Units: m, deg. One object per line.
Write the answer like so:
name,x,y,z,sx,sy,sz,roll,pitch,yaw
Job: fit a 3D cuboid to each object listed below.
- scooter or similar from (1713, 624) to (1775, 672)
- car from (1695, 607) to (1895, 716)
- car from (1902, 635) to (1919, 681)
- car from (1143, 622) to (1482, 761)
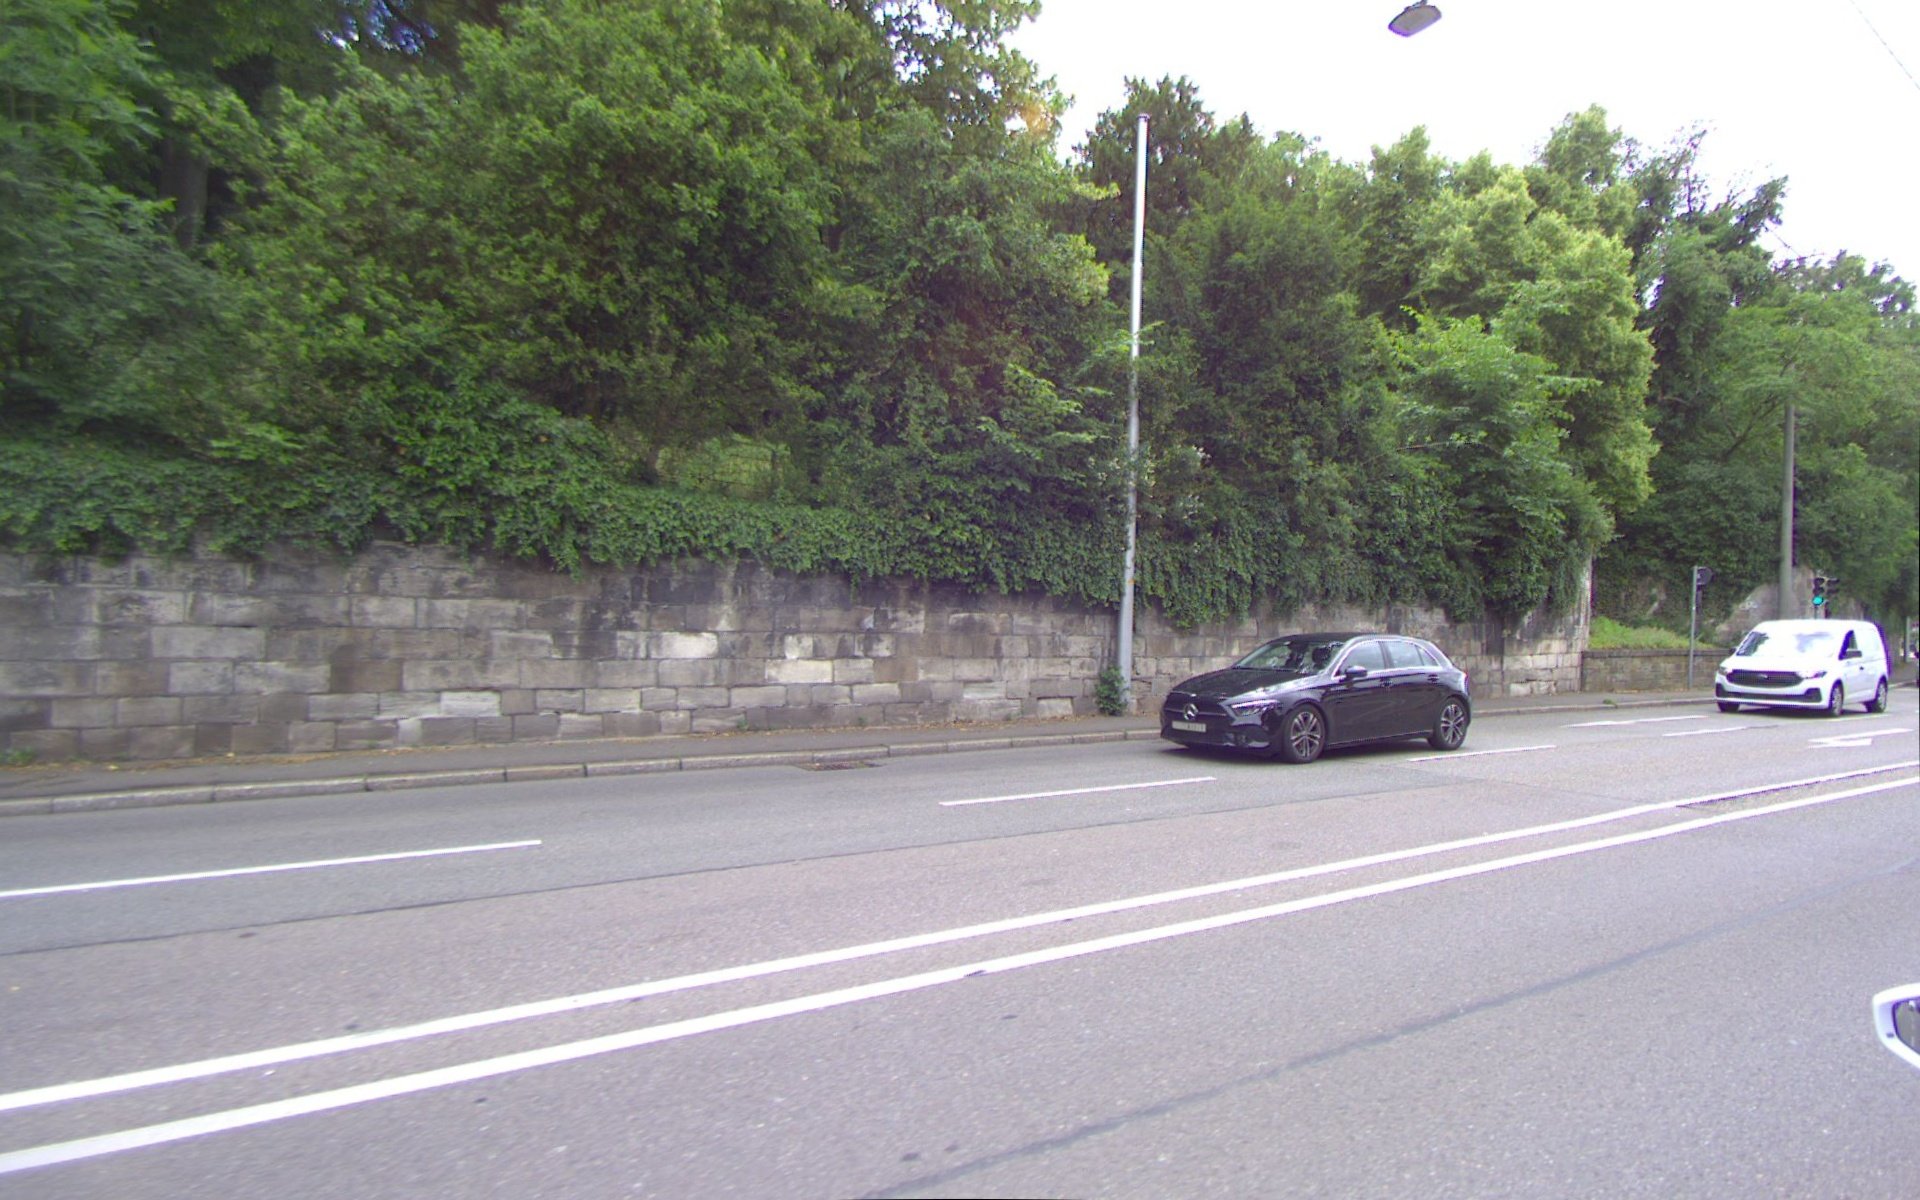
scooter or similar,23.848,1.462,30.581,1.324,1.253,0.434,8,3,2
car,16.508,1.165,19.802,4.352,1.873,1.880,2,1,-35
car,31.772,1.846,32.009,3.981,1.421,1.705,1,-2,-34
car,4.311,1.017,12.084,4.205,1.420,1.554,2,-3,-31
